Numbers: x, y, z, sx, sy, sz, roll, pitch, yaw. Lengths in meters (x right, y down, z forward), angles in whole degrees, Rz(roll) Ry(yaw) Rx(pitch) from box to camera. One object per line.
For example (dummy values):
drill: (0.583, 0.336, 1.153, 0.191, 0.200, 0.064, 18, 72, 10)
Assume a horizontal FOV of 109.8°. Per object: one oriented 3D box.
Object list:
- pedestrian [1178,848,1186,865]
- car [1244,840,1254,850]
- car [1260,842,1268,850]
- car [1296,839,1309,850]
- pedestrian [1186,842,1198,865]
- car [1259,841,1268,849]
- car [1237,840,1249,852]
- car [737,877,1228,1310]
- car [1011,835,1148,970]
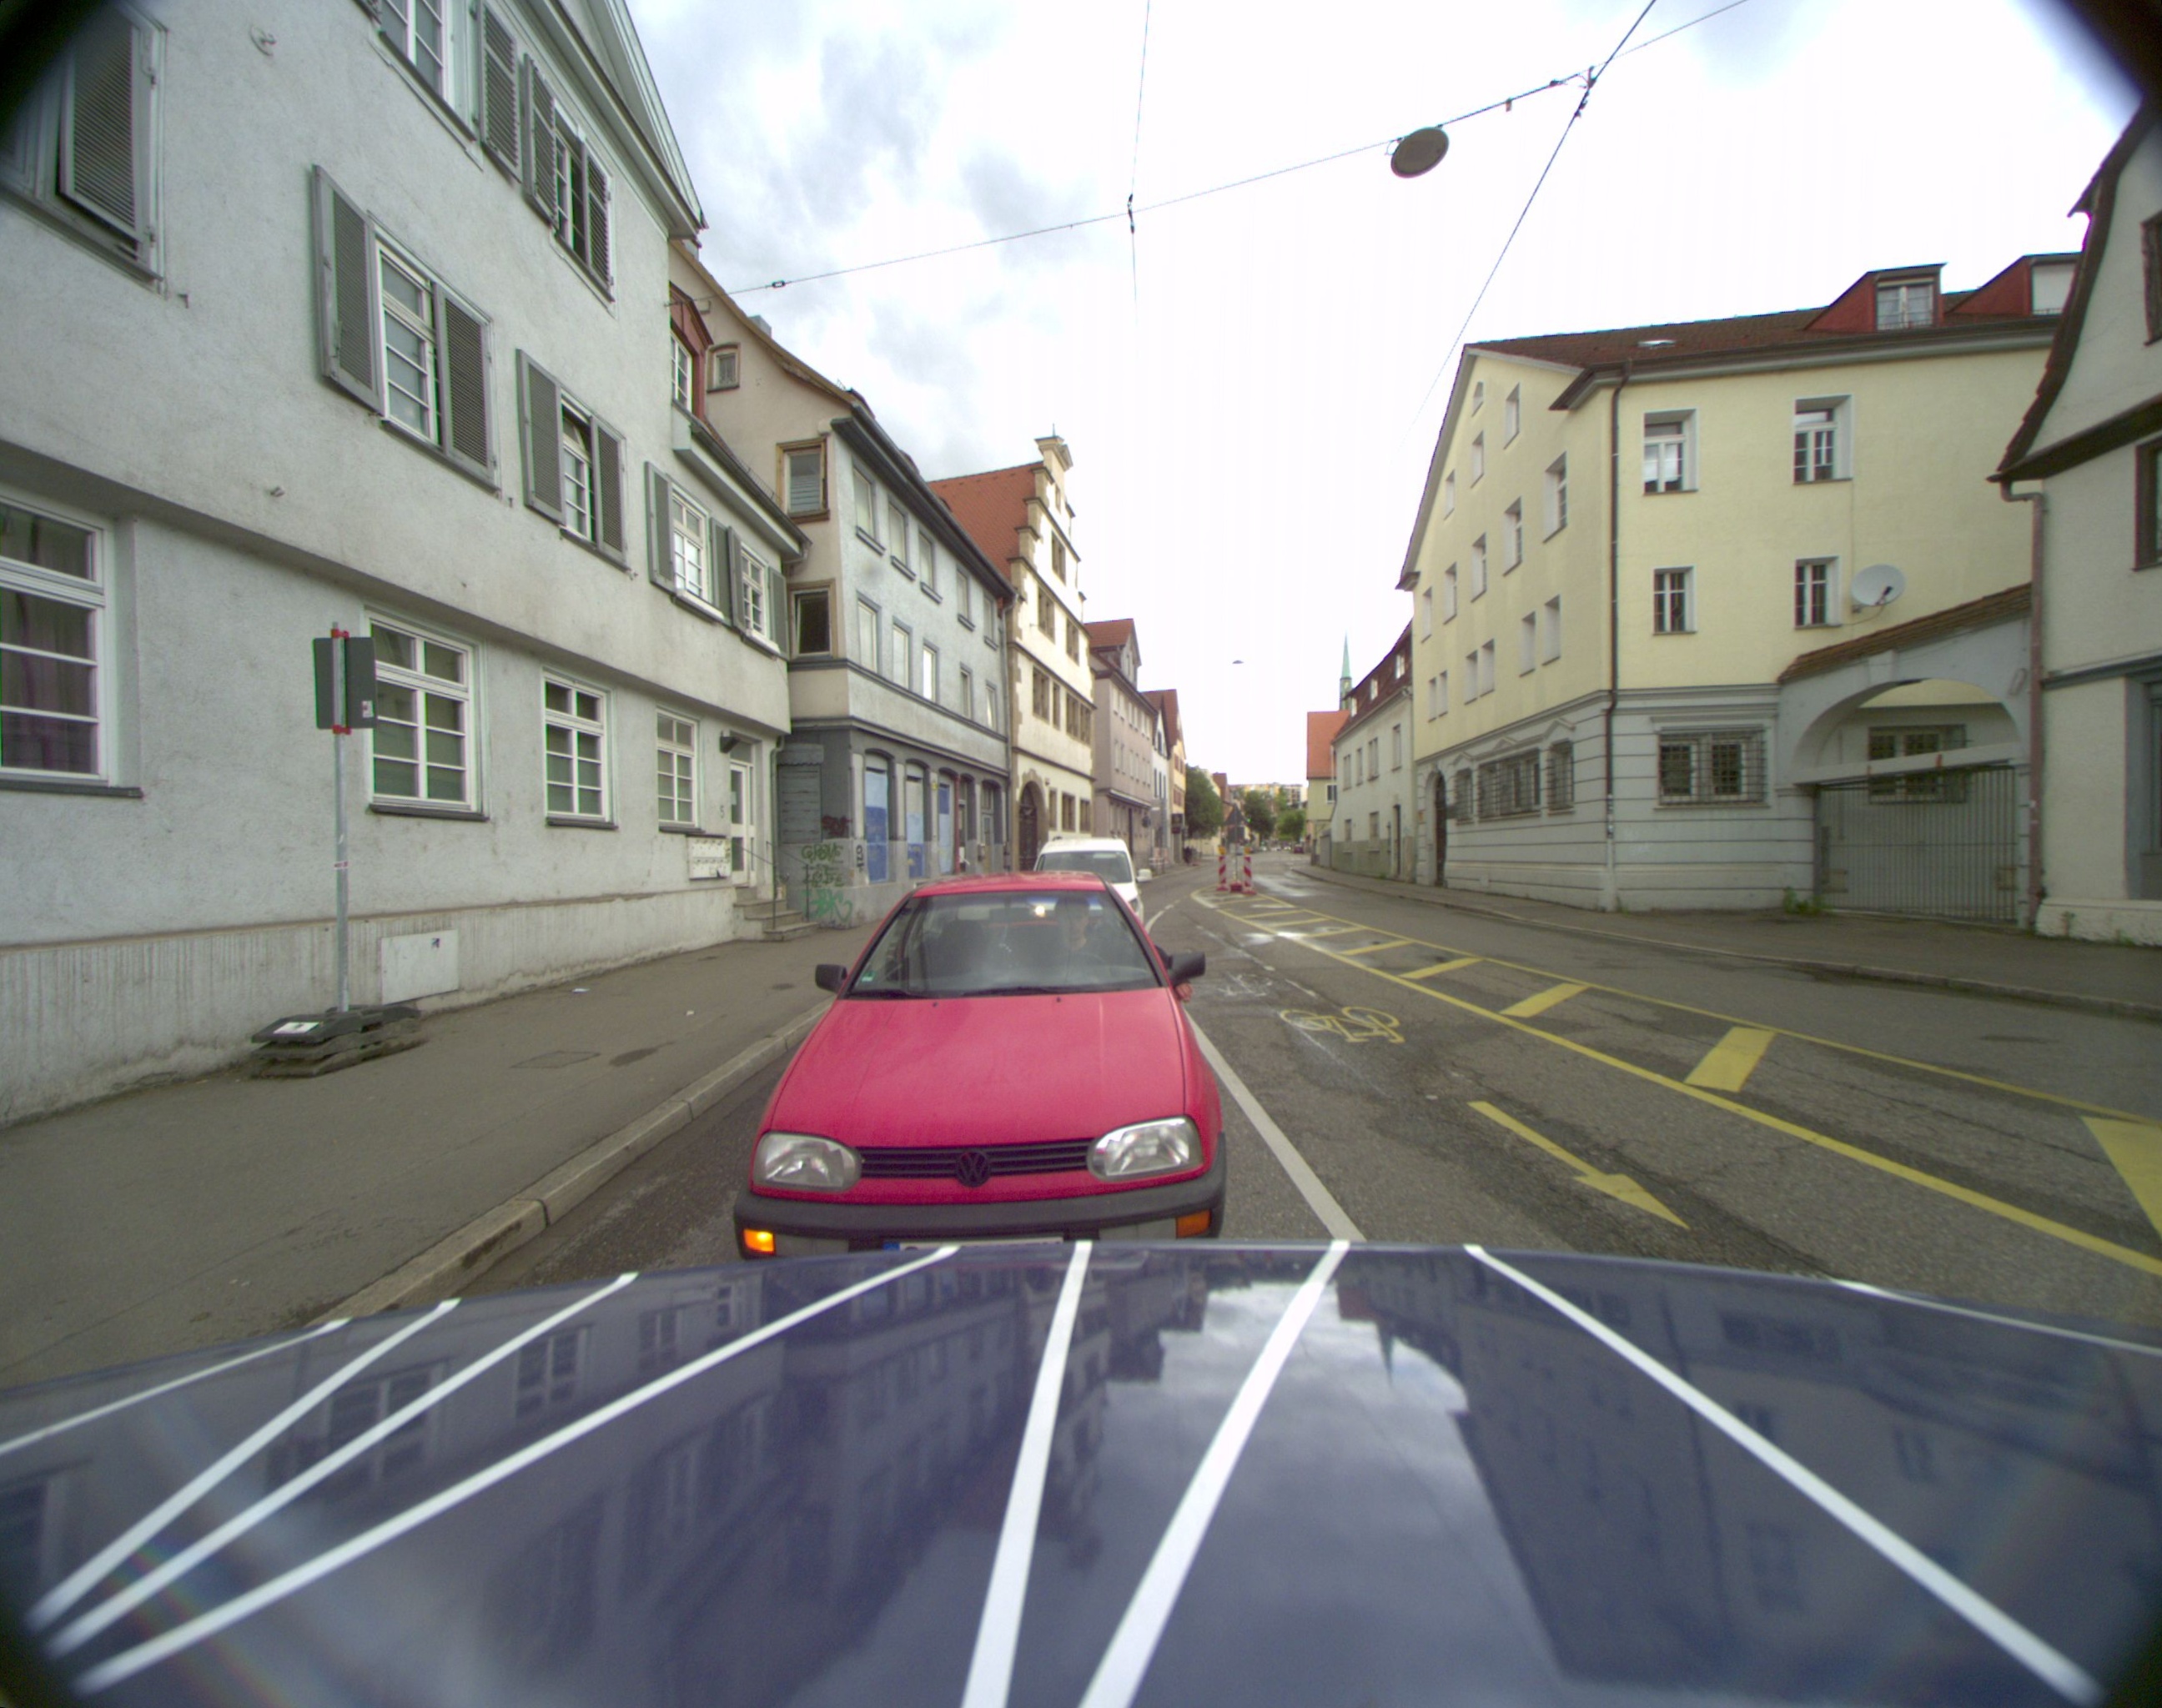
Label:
pedestrian: (10.534, 0.237, 79.151, 0.562, 1.784, 0.658, -1, 1, -28)
car: (34.052, -1.746, 154.255, 1.996, 2.002, 4.004, -1, 0, 13)
car: (48.442, -2.093, 201.288, 1.996, 2.002, 4.004, -1, 0, 13)
car: (42.700, -1.766, 146.583, 2.057, 2.002, 4.004, -1, 0, 13)
pedestrian: (9.216, -0.008, 62.850, 0.877, 1.888, 0.898, -1, 0, 14)
car: (44.924, -2.144, 186.814, 1.996, 2.002, 4.004, -1, 0, 13)
car: (28.430, -1.334, 133.500, 1.996, 2.002, 4.004, -1, 0, 13)
car: (-0.354, 0.989, 4.930, 1.804, 1.458, 4.000, -4, 0, 1)
car: (0.010, 0.661, 12.337, 1.804, 1.781, 4.349, -1, 0, 1)
